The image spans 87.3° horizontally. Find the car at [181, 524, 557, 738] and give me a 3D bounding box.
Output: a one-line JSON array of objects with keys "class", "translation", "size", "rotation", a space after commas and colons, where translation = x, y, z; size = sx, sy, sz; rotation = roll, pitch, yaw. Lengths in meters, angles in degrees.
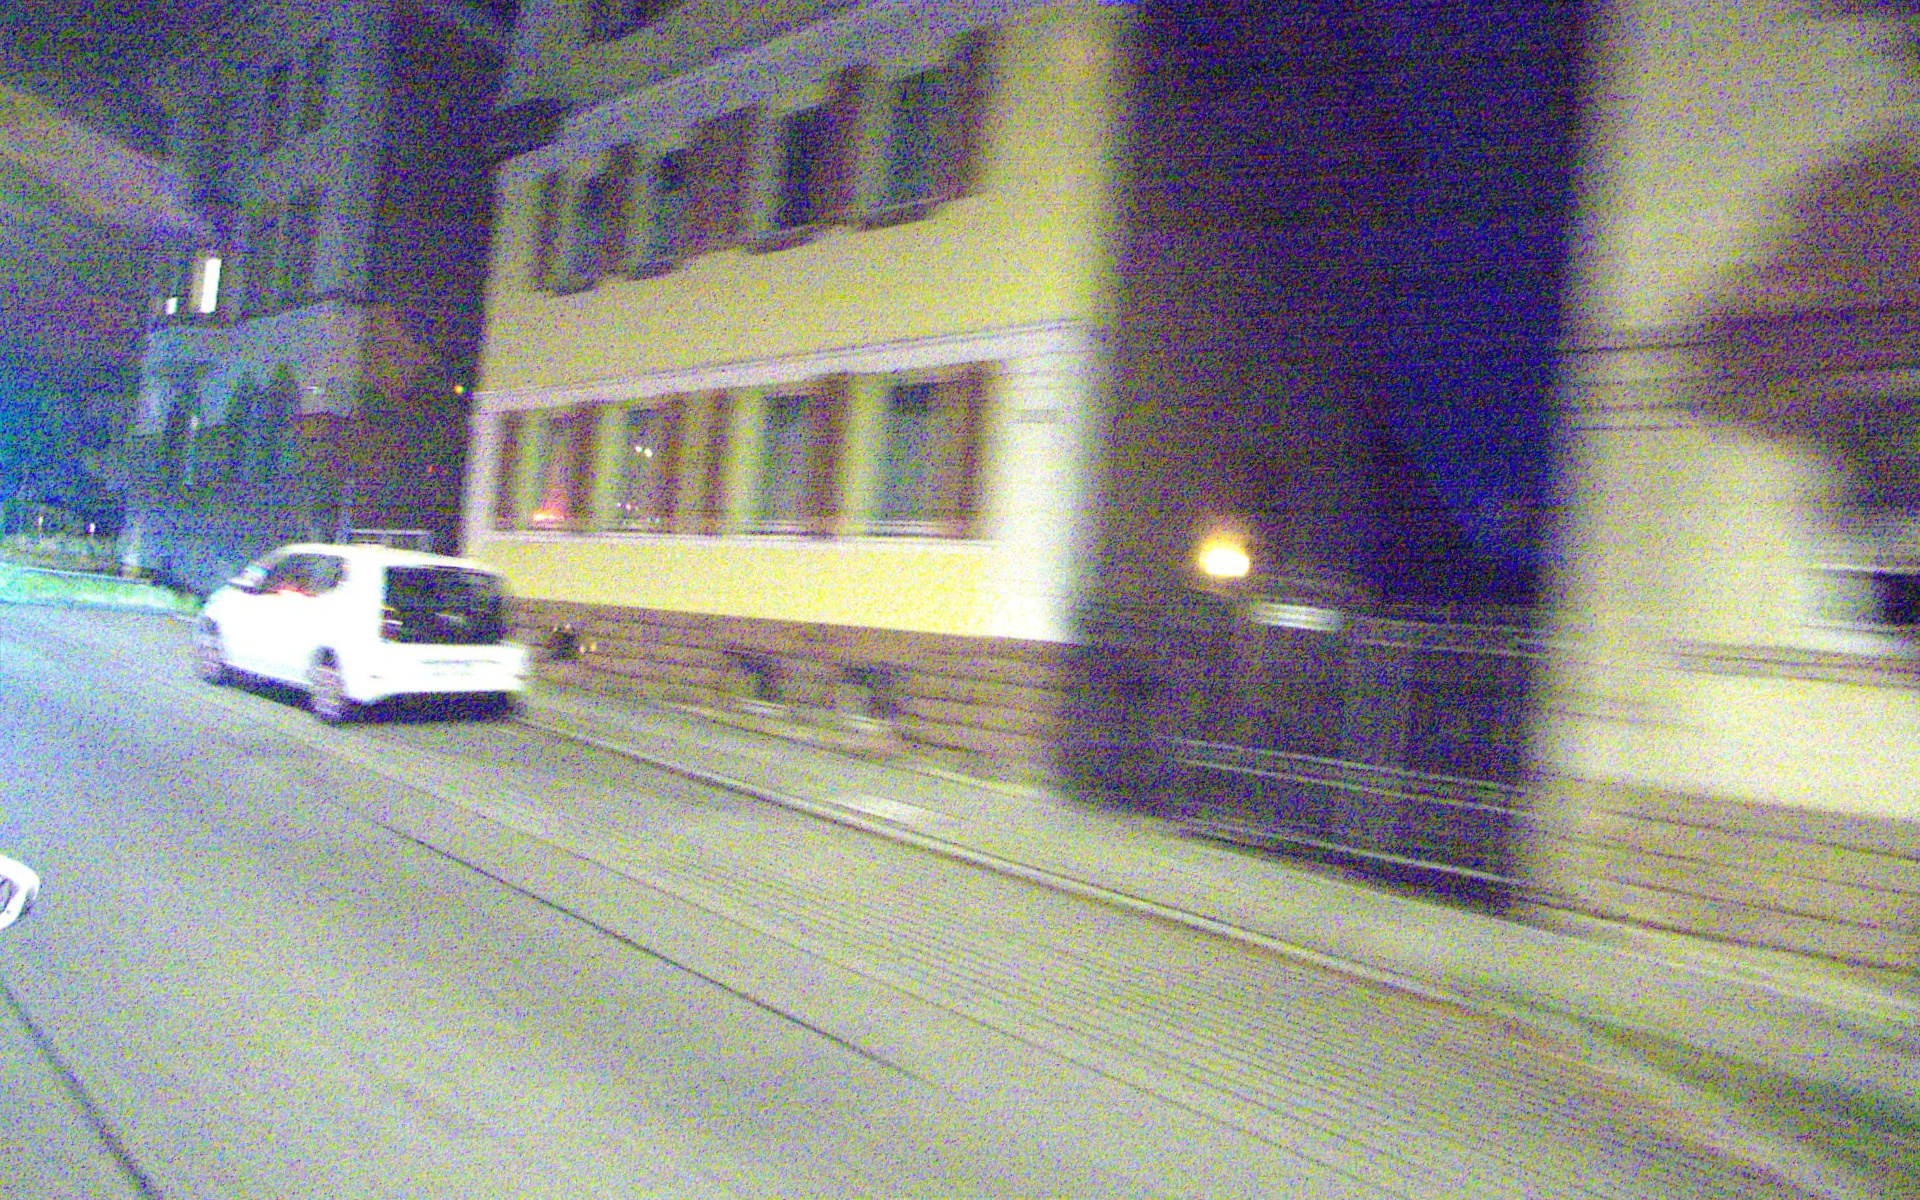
[{"class": "car", "translation": [-5.719, 0.226, 9.628], "size": [3.546, 1.503, 1.668], "rotation": [7, 1, 34]}]
